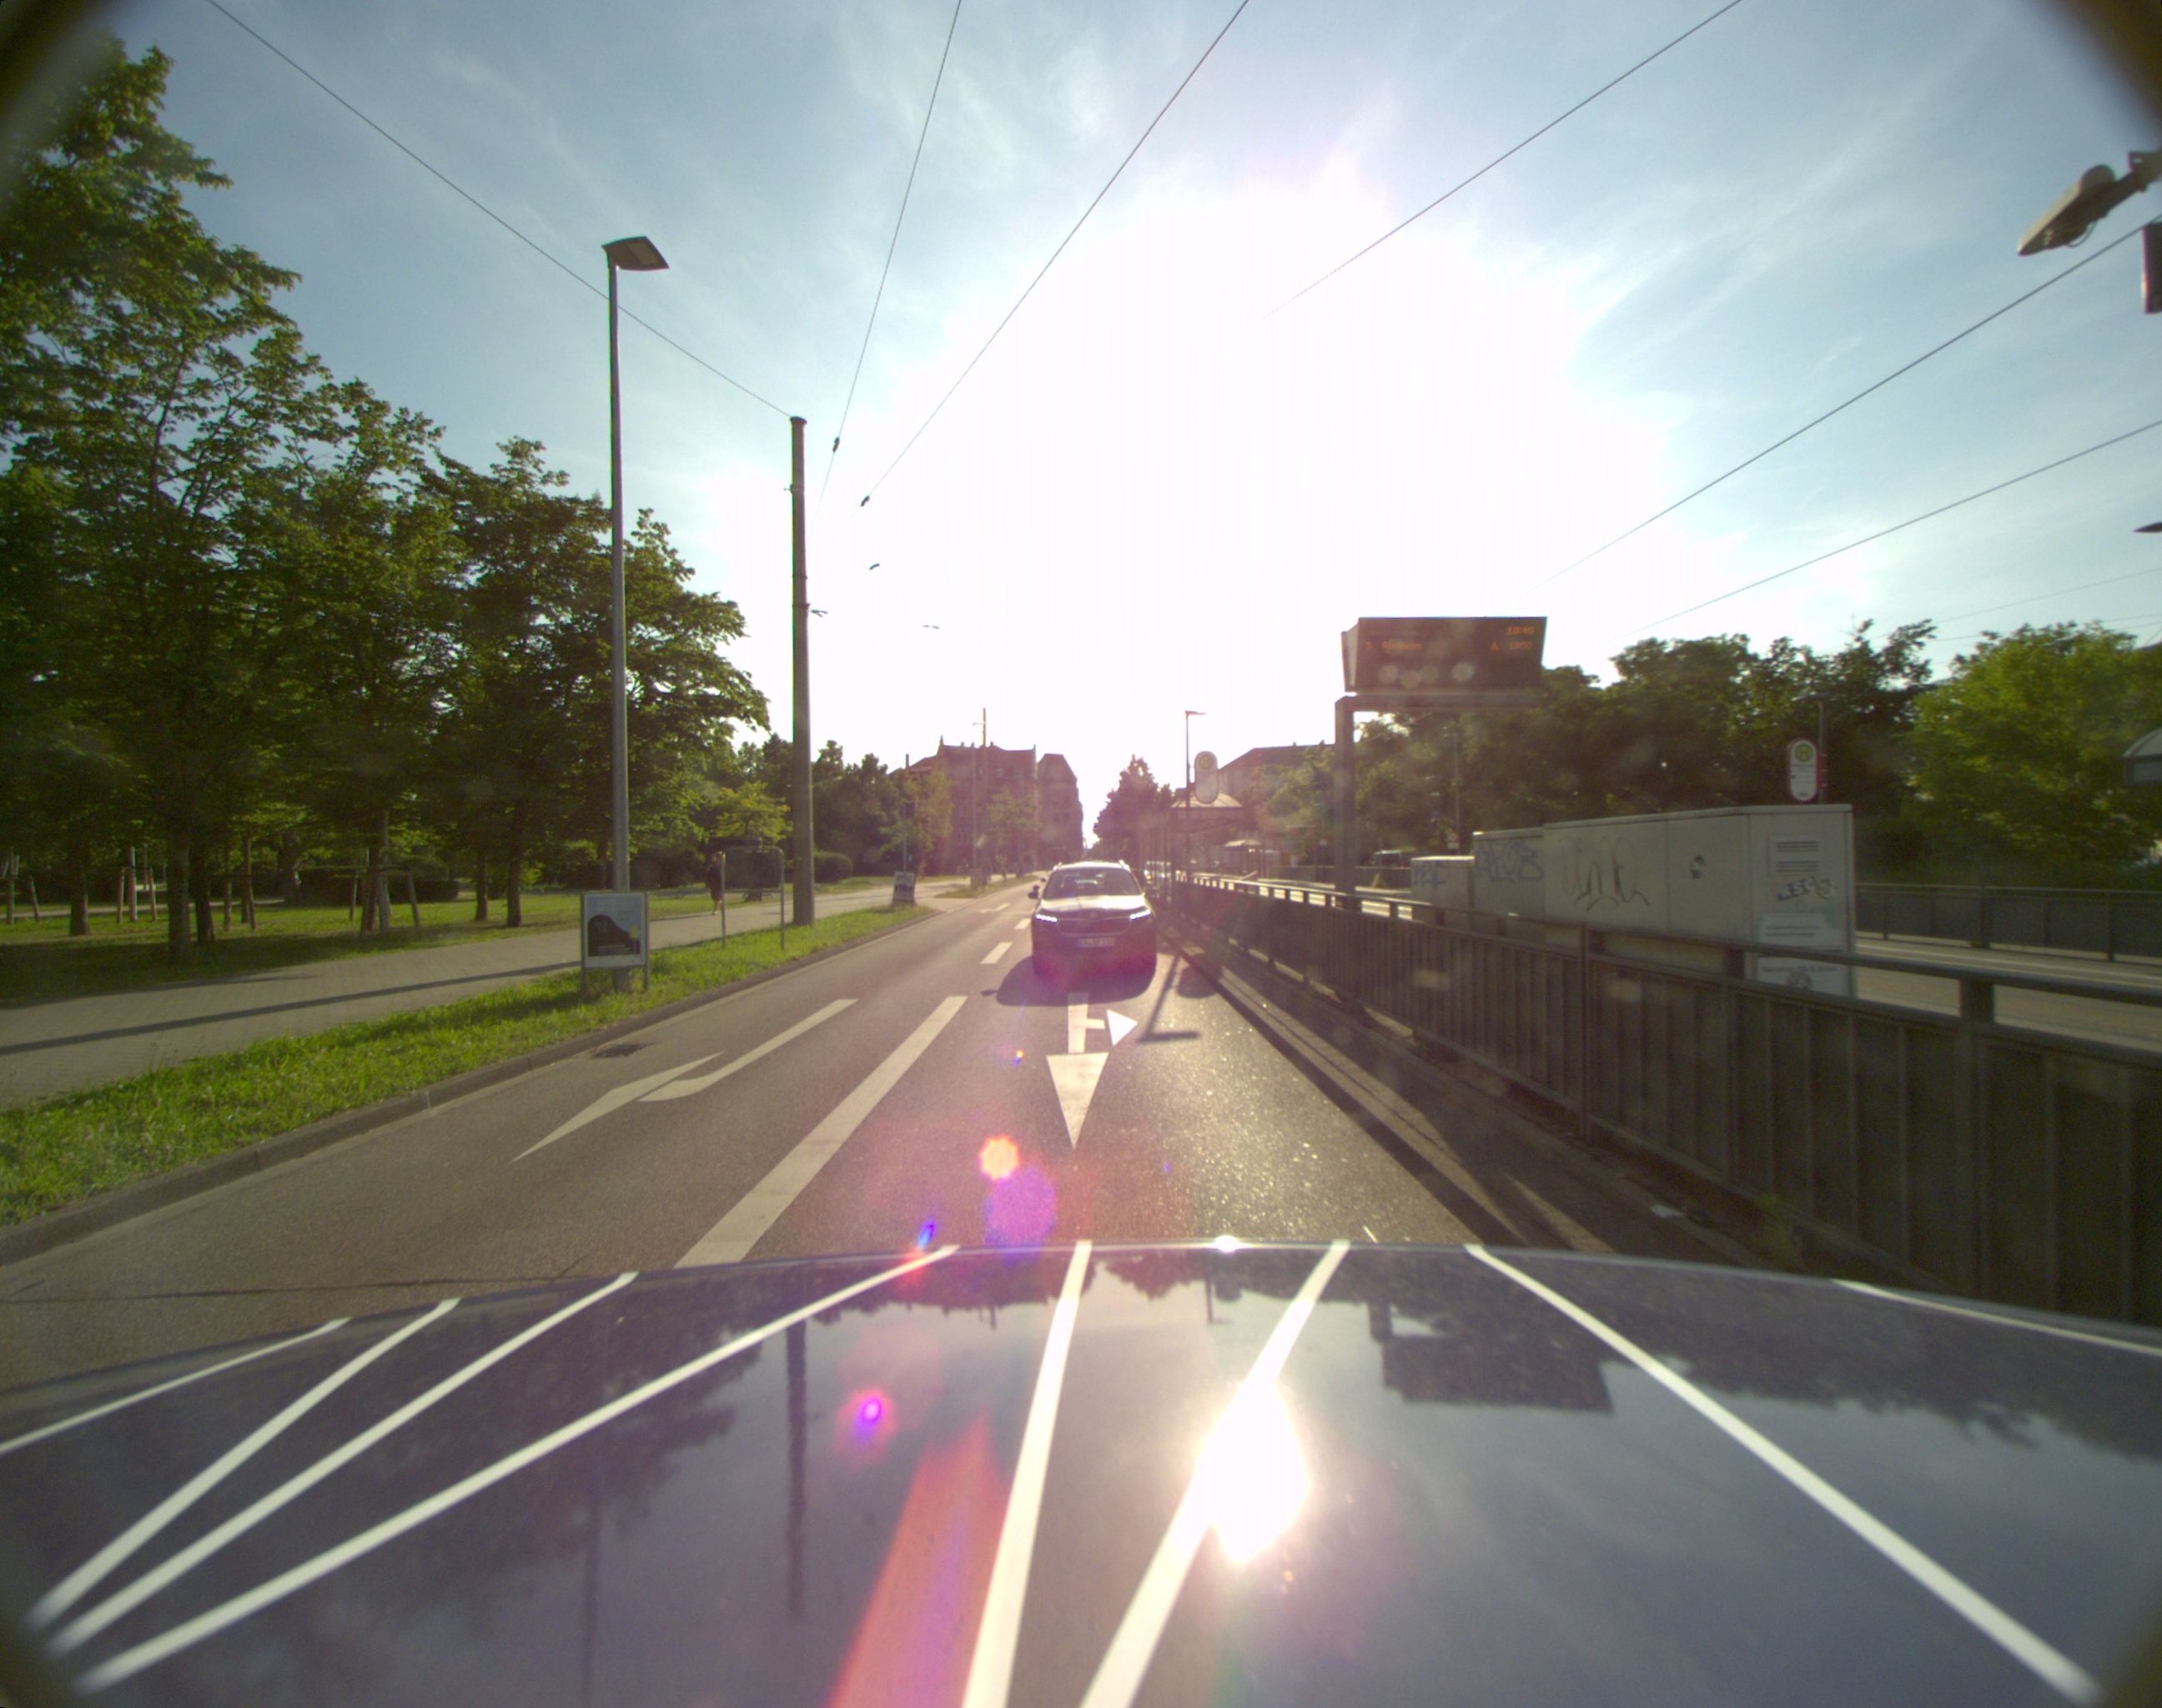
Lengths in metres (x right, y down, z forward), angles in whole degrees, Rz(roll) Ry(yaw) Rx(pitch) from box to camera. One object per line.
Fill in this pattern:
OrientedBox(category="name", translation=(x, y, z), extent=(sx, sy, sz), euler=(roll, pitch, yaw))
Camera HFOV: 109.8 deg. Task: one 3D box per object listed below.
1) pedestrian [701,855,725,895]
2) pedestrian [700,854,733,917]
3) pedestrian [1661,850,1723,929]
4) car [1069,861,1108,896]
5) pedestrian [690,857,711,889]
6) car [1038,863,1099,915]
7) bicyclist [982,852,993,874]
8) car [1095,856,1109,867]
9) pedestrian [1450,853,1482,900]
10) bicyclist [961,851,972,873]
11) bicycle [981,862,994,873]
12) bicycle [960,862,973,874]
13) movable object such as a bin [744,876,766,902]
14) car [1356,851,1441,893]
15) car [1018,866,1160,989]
OrientedBox(category="pedestrian", translation=(-15.540, 0.875, 32.076), extent=(0.660, 1.641, 0.623), euler=(0, 0, 25))
OrientedBox(category="pedestrian", translation=(-9.817, 0.836, 20.498), extent=(0.558, 1.691, 0.662), euler=(0, 0, -1))
OrientedBox(category="pedestrian", translation=(12.839, 0.740, 15.983), extent=(0.708, 1.618, 0.727), euler=(0, 0, 0))
OrientedBox(category="car", translation=(0.321, 1.068, 34.724), extent=(1.672, 1.496, 3.872), euler=(0, 0, 0))
OrientedBox(category="pedestrian", translation=(-25.853, 1.291, 51.627), extent=(0.910, 2.145, 0.891), euler=(0, 0, 12))
OrientedBox(category="car", translation=(-0.368, 1.059, 24.370), extent=(1.781, 1.496, 4.000), euler=(0, 0, 0))
OrientedBox(category="bicyclist", translation=(-7.722, 0.699, 62.673), extent=(0.730, 1.764, 1.015), euler=(0, 3, -1))
OrientedBox(category="car", translation=(3.237, 1.223, 118.498), extent=(1.999, 1.674, 3.999), euler=(0, 0, -2))
OrientedBox(category="pedestrian", translation=(13.326, 0.770, 26.314), extent=(0.736, 1.618, 0.689), euler=(0, 0, 0))
OrientedBox(category="bicyclist", translation=(-9.404, 0.676, 62.490), extent=(0.754, 1.763, 1.118), euler=(0, 0, -1))
OrientedBox(category="bicycle", translation=(-7.724, 1.113, 62.735), extent=(0.740, 0.912, 2.095), euler=(0, 0, 1))
OrientedBox(category="bicycle", translation=(-9.376, 1.122, 62.256), extent=(0.740, 0.912, 2.094), euler=(0, 0, -1))
OrientedBox(category="movable object such as a bin", translation=(-11.360, 1.209, 26.456), extent=(0.502, 0.898, 0.526), euler=(0, 0, 39))
OrientedBox(category="car", translation=(16.251, 0.860, 39.217), extent=(2.151, 2.002, 5.387), euler=(0, 0, 0))
OrientedBox(category="car", translation=(0.118, 0.982, 11.847), extent=(1.781, 1.496, 4.000), euler=(-2, 0, 0))
